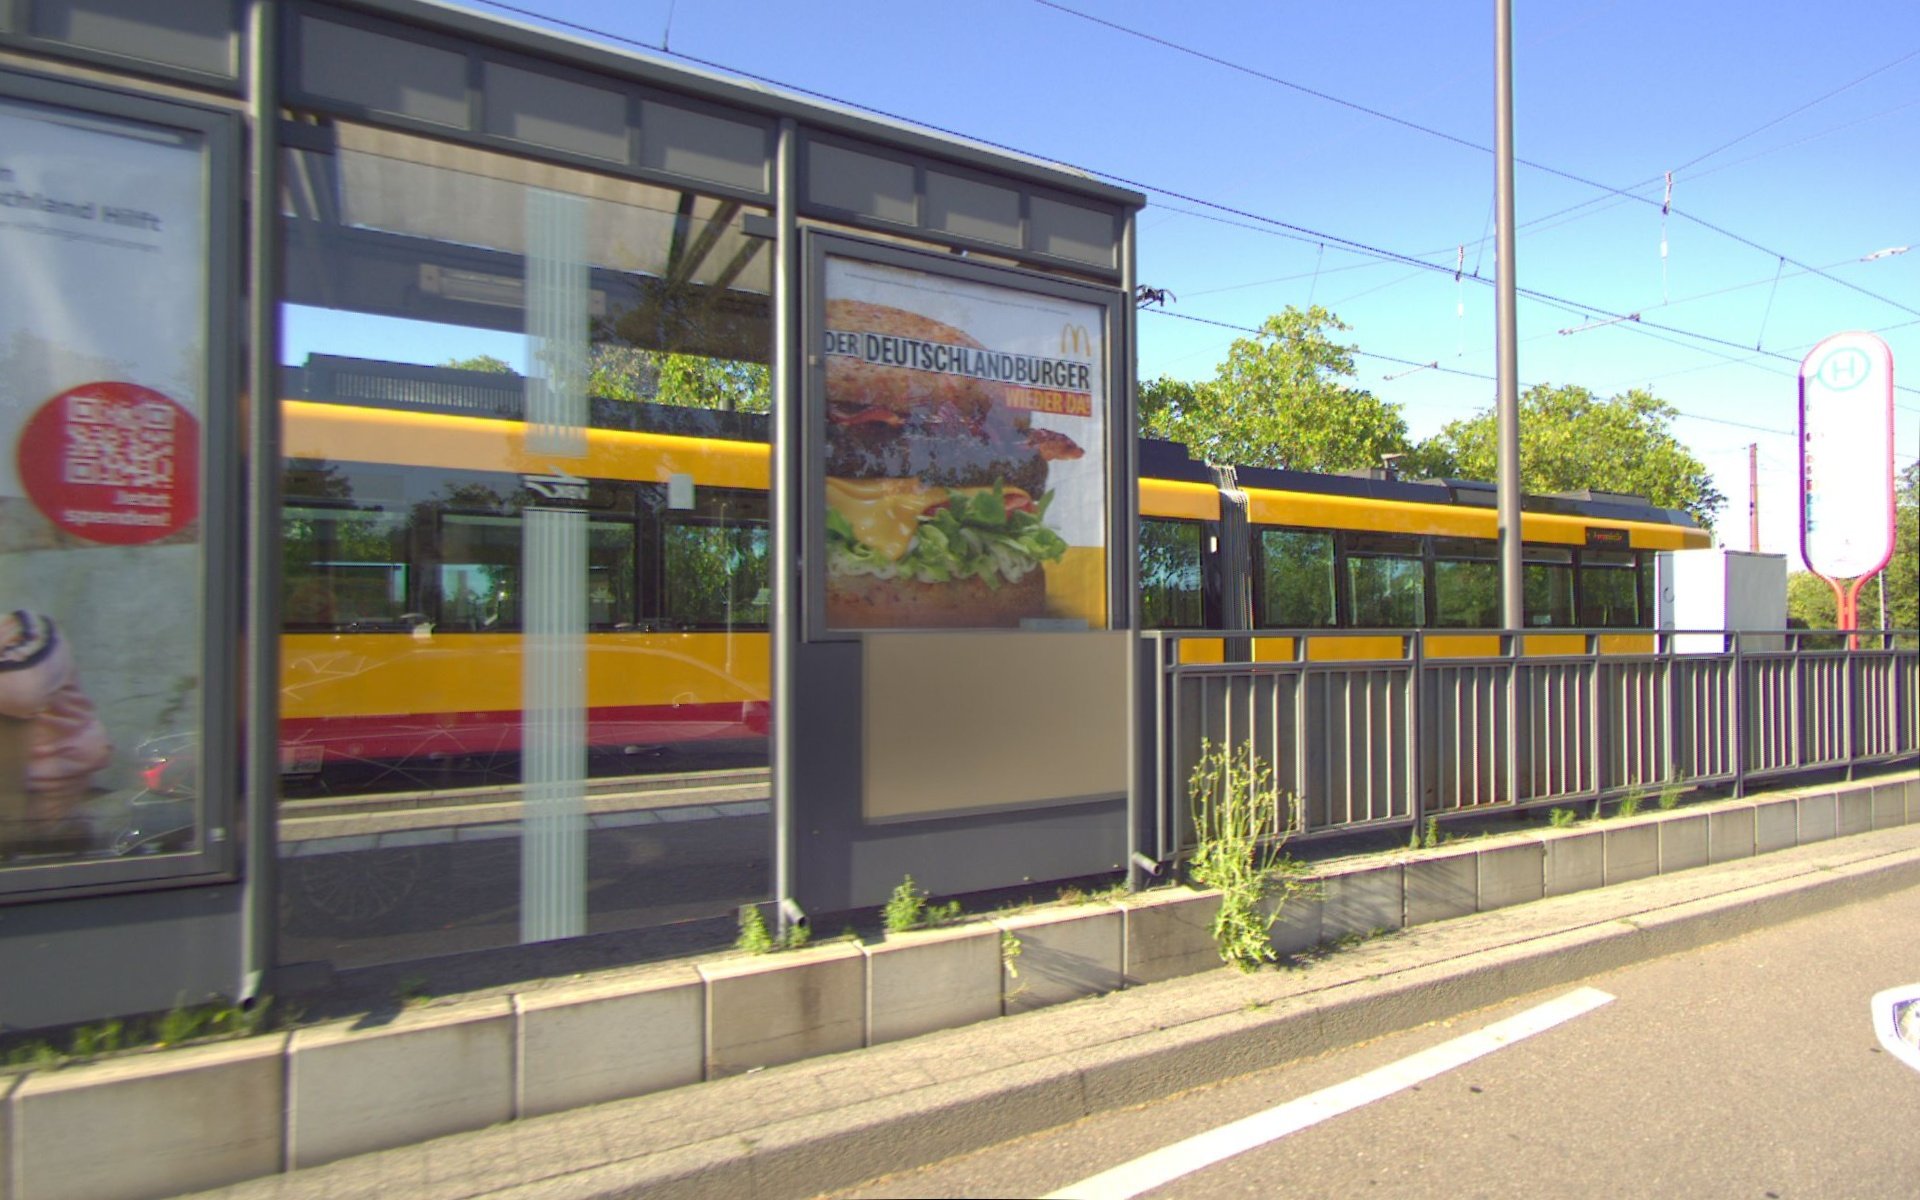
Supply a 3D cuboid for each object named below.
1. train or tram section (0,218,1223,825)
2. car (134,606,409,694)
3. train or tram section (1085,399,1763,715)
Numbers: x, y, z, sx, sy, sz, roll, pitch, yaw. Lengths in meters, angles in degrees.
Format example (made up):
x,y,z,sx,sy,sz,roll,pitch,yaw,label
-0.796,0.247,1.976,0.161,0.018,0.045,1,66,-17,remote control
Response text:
x,y,z,sx,sy,sz,roll,pitch,yaw,label
-4.446,-0.488,9.388,15.676,4.059,2.816,1,0,-28,train or tram section
-12.365,0.854,18.414,3.952,1.437,1.985,1,-1,-30,car
8.089,-0.432,16.193,12.806,3.736,2.816,1,0,-28,train or tram section
